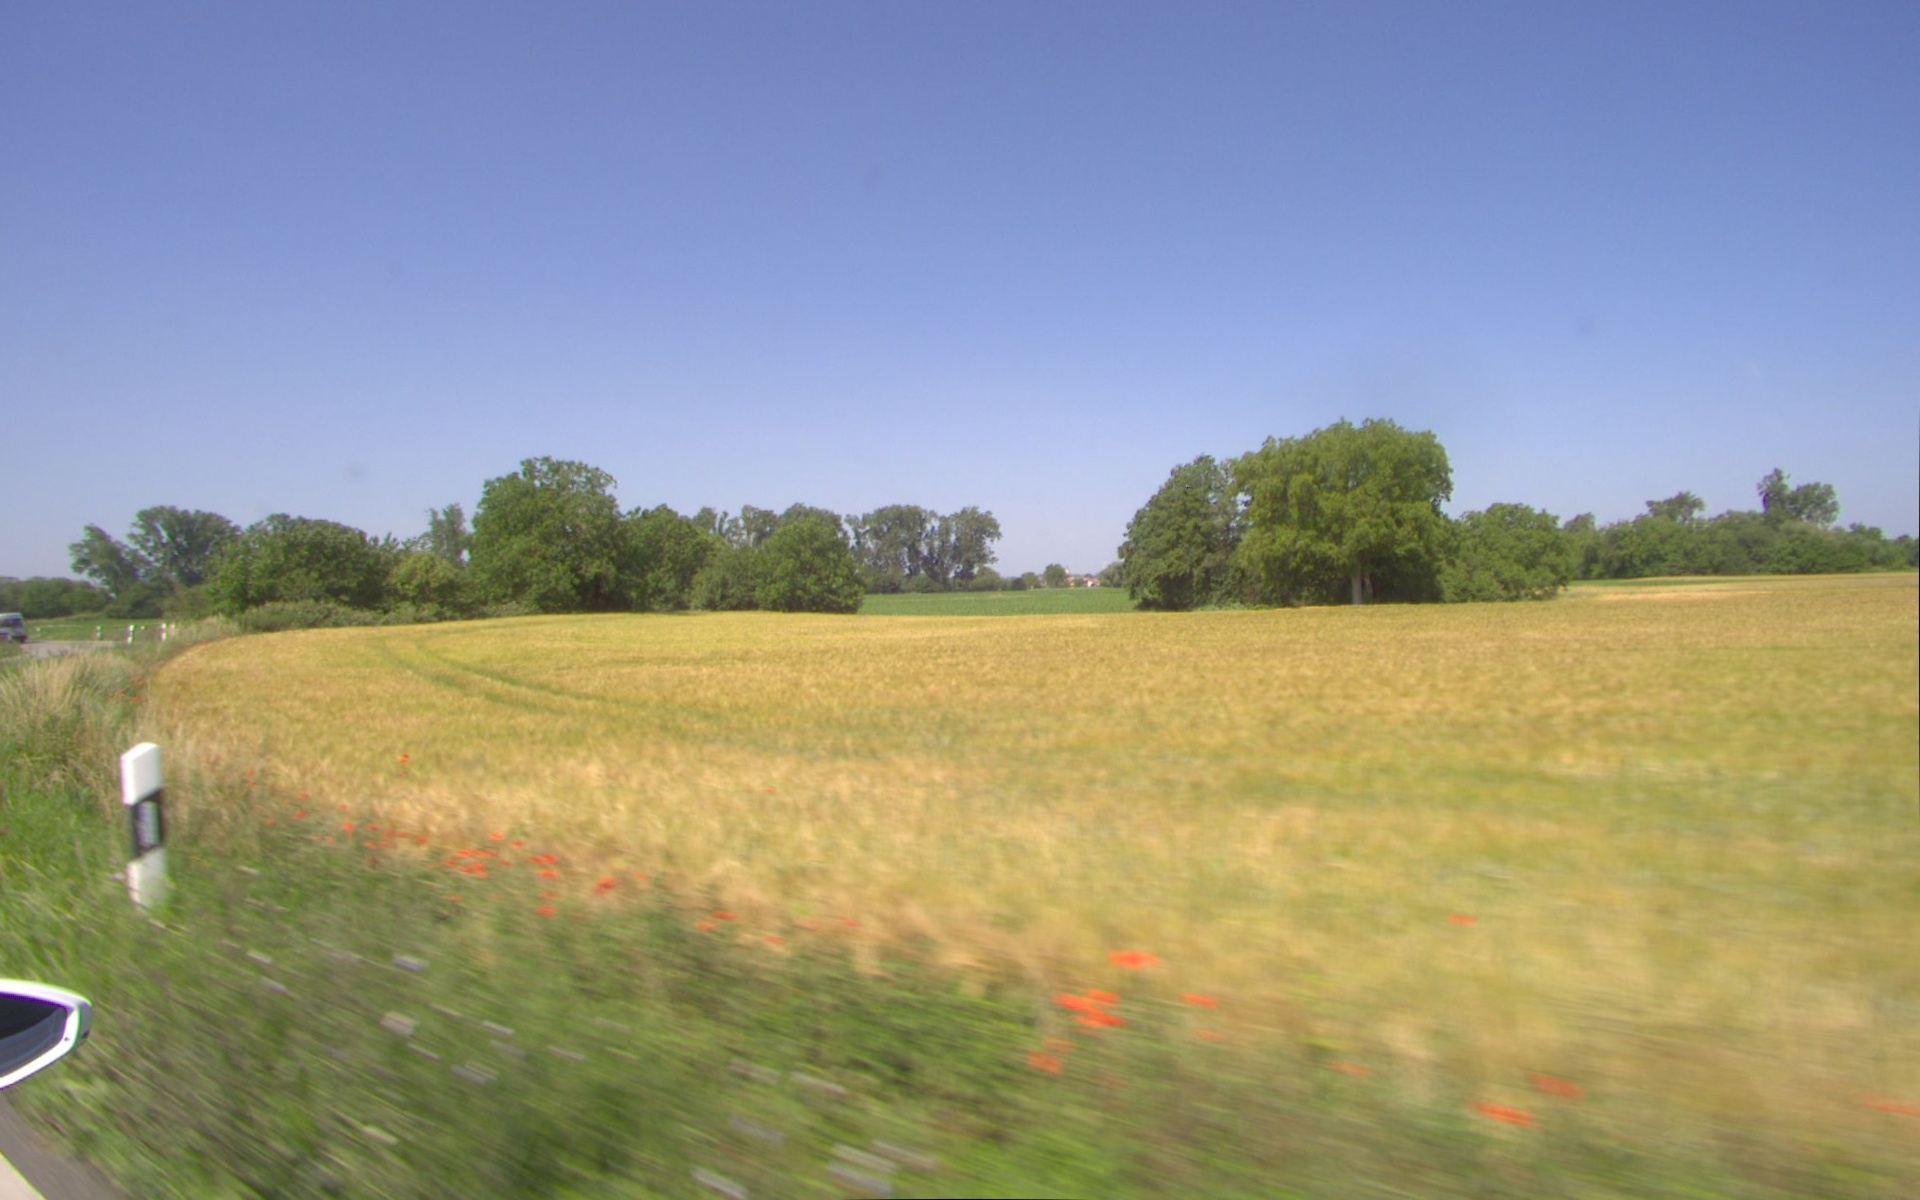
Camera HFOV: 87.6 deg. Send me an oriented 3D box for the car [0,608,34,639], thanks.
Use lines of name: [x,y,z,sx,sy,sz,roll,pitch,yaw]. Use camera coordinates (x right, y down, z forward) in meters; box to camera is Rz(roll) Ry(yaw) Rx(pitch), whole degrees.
car: [-77.697,1.875,81.279,5.602,2.399,2.100,0,2,31]
